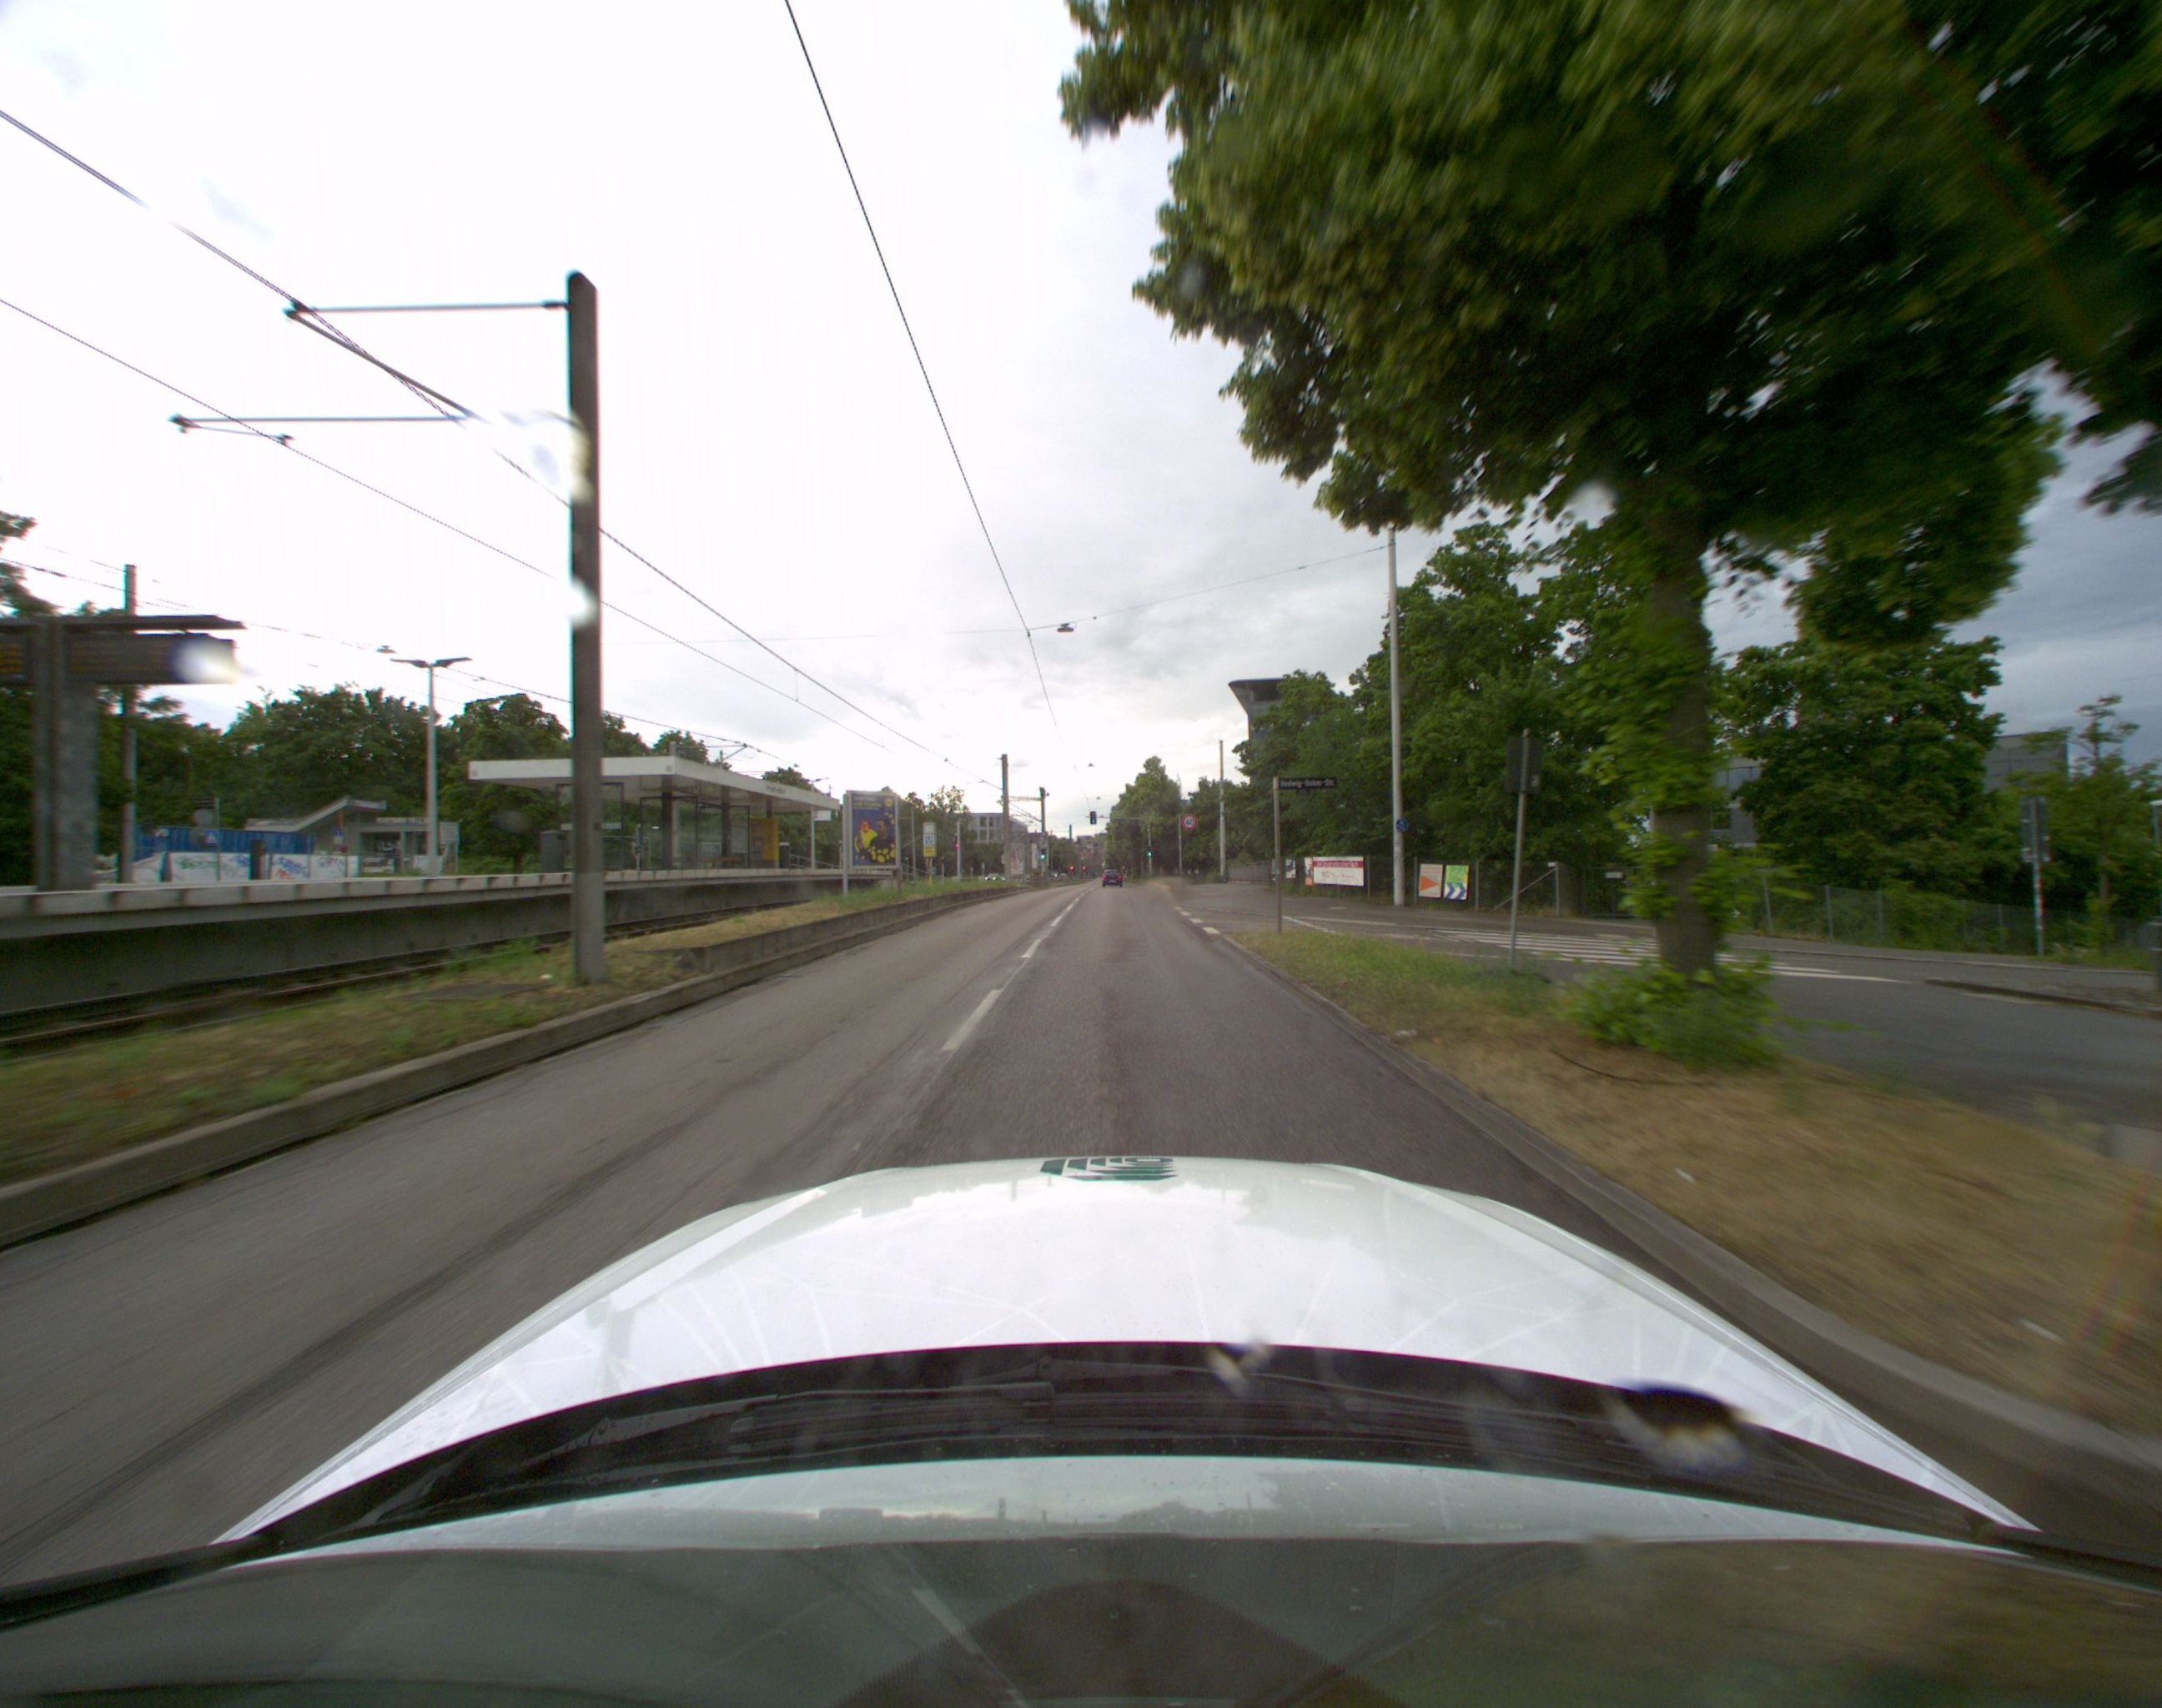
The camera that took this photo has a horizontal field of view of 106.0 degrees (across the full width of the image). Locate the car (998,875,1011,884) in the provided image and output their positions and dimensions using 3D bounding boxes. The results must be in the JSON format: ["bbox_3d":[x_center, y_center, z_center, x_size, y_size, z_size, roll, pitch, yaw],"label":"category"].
[{"bbox_3d":[-15.718,5.275,167.422,1.840,1.632,3.819,2,1,7],"label":"car"}]

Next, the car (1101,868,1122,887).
[{"bbox_3d":[2.581,1.932,68.502,1.719,1.541,4.003,-1,-1,3],"label":"car"}]

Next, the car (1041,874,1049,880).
[{"bbox_3d":[-10.792,6.973,242.776,1.840,1.632,3.616,2,1,7],"label":"car"}]
